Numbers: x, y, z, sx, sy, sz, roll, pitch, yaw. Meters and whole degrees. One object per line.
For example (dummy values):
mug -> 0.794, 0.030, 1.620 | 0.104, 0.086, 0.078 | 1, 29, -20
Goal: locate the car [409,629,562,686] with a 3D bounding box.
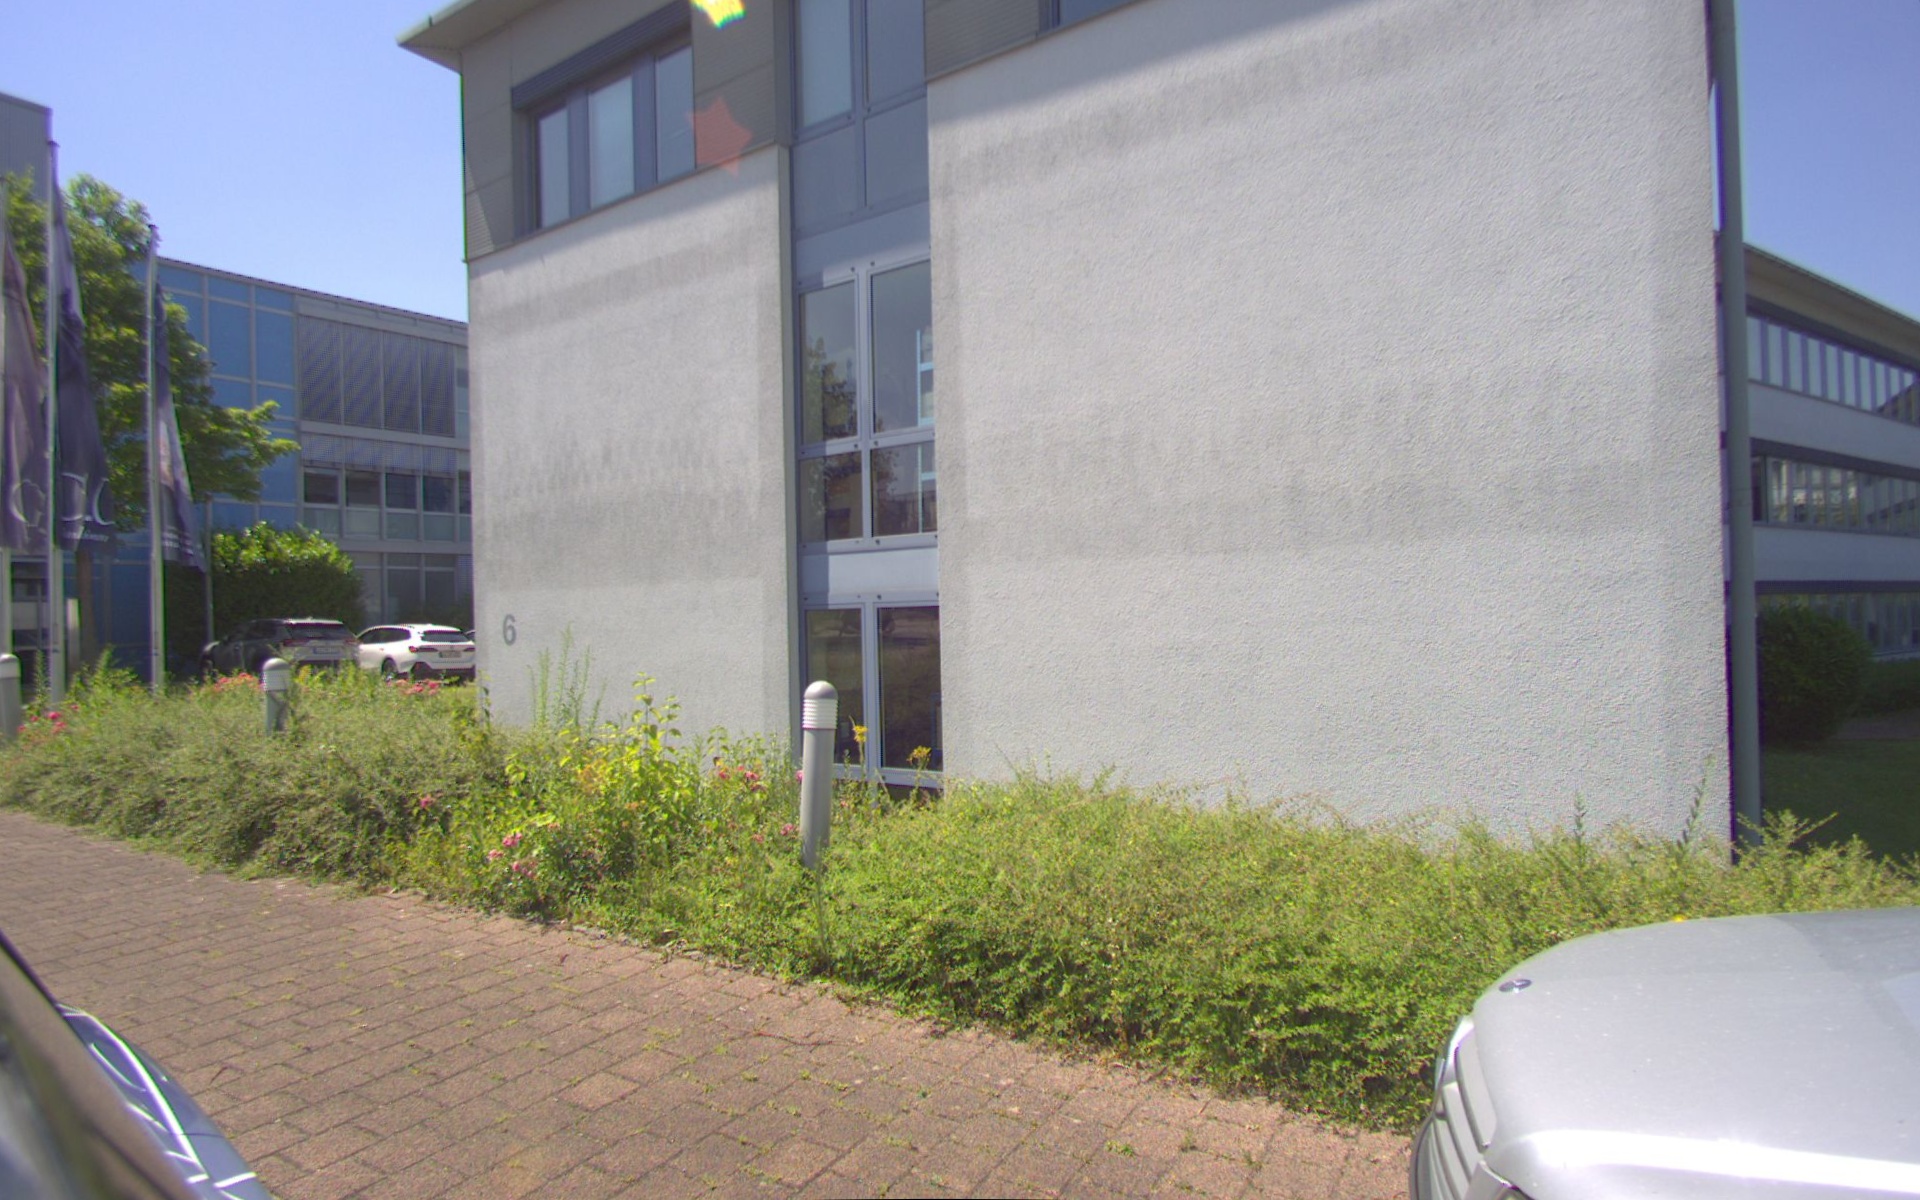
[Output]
car -> -12.728, 1.496, 27.106 | 4.157, 1.411, 1.734 | -1, -2, 32

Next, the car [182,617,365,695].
car -> -15.692, 1.231, 23.108 | 4.154, 1.650, 1.815 | -1, -2, 30

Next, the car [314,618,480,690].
car -> -13.985, 1.304, 25.091 | 4.157, 1.650, 1.814 | -1, -2, 32

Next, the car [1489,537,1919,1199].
car -> 2.732, 0.669, 0.602 | 4.136, 1.468, 1.715 | -1, -2, 33
